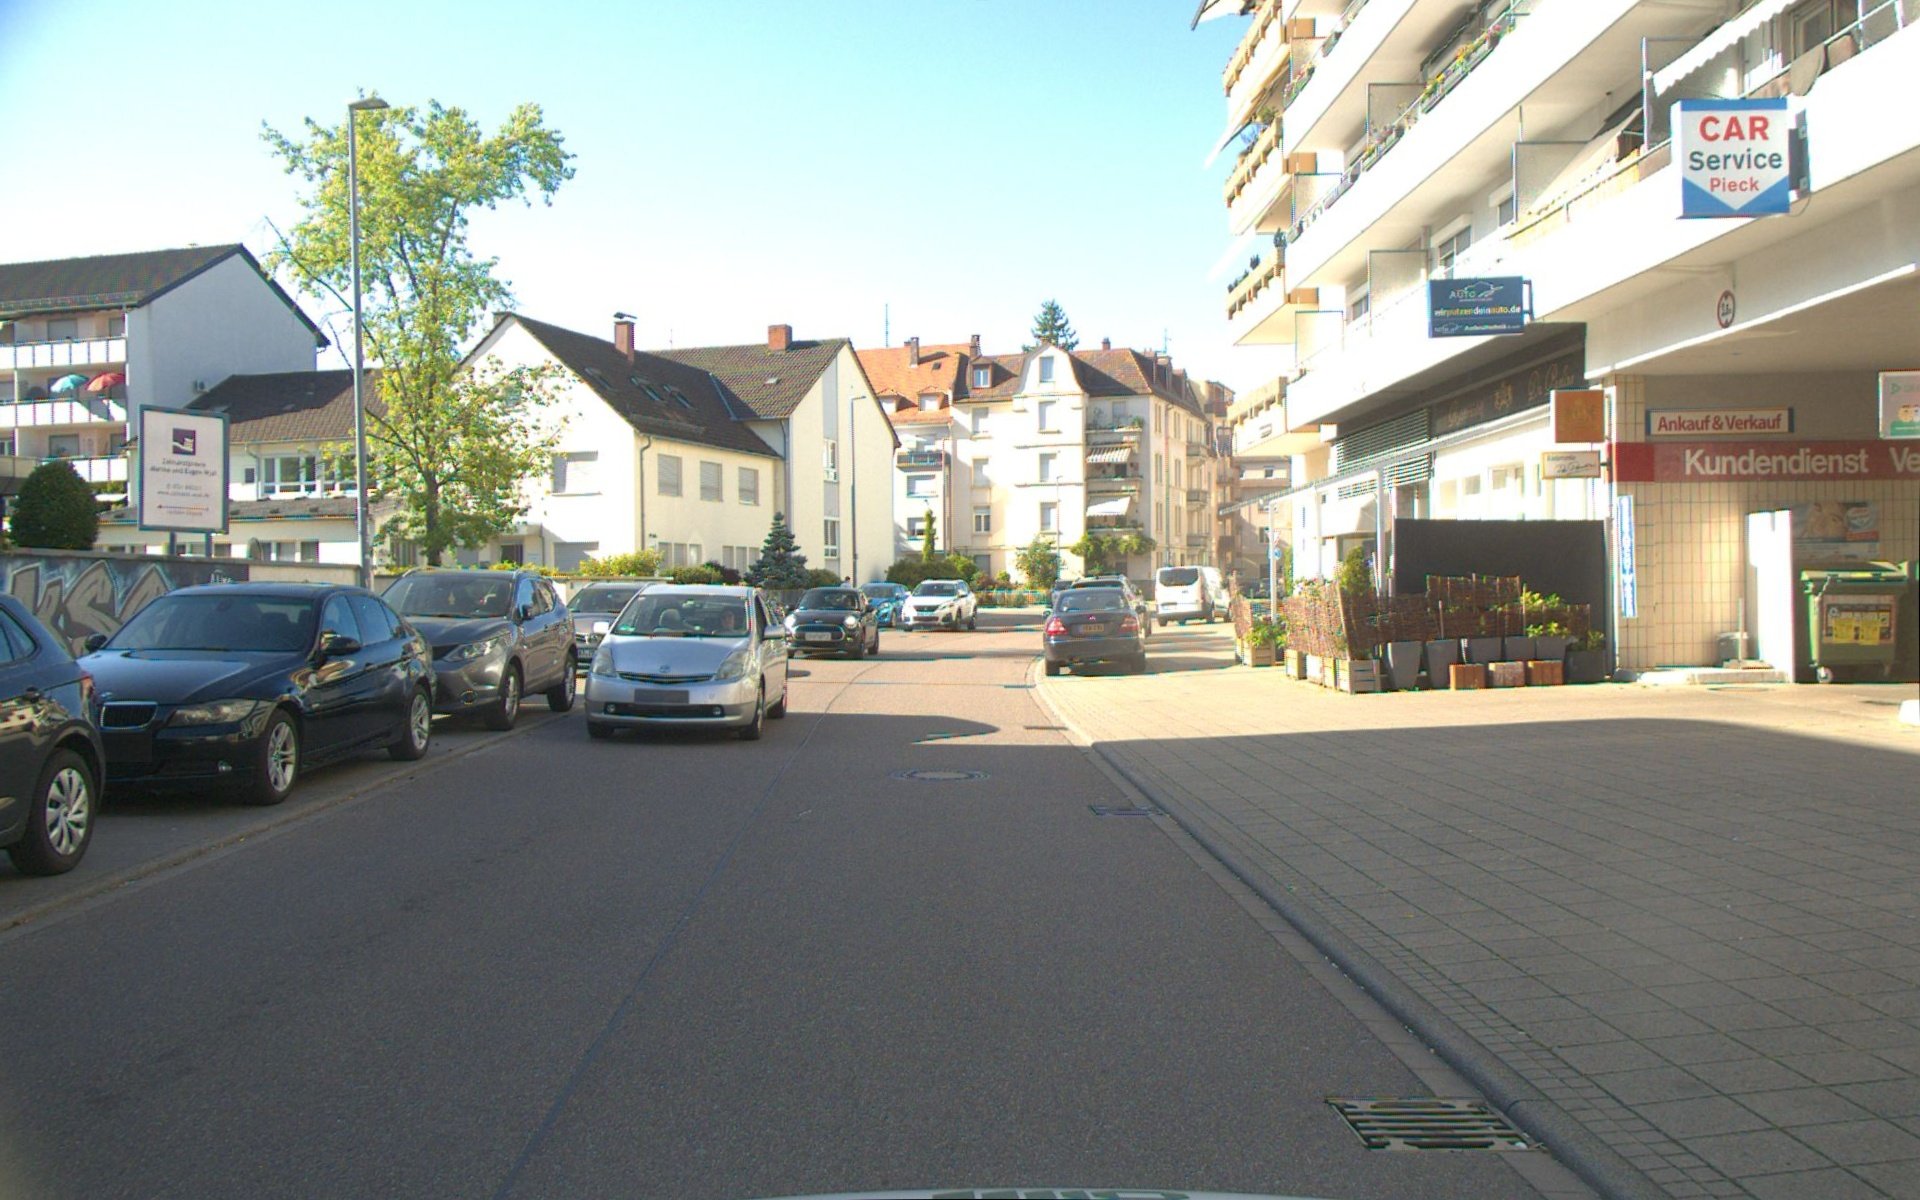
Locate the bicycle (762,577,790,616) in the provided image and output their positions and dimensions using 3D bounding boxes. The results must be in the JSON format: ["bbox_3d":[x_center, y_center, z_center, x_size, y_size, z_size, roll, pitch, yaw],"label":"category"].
[{"bbox_3d":[-6.355,-0.120,57.190,0.446,1.272,1.929,-1,-2,10],"label":"bicycle"}]

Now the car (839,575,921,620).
[{"bbox_3d":[-2.714,-0.119,57.004,1.759,1.499,4.335,0,1,12],"label":"car"}]

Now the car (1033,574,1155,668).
[{"bbox_3d":[2.409,0.344,29.079,1.929,1.476,5.006,-1,0,6],"label":"car"}]

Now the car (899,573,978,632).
[{"bbox_3d":[-0.644,0.130,53.508,1.878,1.755,4.340,-1,-2,9],"label":"car"}]

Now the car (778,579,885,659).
[{"bbox_3d":[-2.646,0.444,34.778,1.703,1.539,3.731,-1,-3,4],"label":"car"}]

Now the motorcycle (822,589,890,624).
[{"bbox_3d":[-3.400,0.200,54.072,2.016,1.036,0.947,3,3,24],"label":"motorcycle"}]

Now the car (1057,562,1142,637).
[{"bbox_3d":[3.475,0.044,40.497,1.778,1.682,4.563,-1,-2,8],"label":"car"}]

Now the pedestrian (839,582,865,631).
[{"bbox_3d":[-3.902,0.245,59.705,0.668,1.733,0.824,-1,-2,19],"label":"pedestrian"}]

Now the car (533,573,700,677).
[{"bbox_3d":[-5.625,0.338,27.726,1.954,1.561,4.916,-1,1,-3],"label":"car"}]

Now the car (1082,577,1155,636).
[{"bbox_3d":[4.378,0.148,45.191,1.681,1.433,4.318,-3,0,8],"label":"car"}]

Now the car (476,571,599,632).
[{"bbox_3d":[-11.541,0.075,45.349,1.763,1.583,3.188,-2,-2,21],"label":"car"}]

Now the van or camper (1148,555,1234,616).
[{"bbox_3d":[8.245,-0.522,58.638,1.979,1.981,4.704,-3,0,21],"label":"van or camper"}]

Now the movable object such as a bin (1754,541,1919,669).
[{"bbox_3d":[10.952,0.076,20.635,1.433,1.526,1.264,-1,-2,-3],"label":"movable object such as a bin"}]

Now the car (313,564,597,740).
[{"bbox_3d":[-5.167,0.453,17.553,1.684,1.614,4.421,-1,1,-1],"label":"car"}]

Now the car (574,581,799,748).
[{"bbox_3d":[-2.727,0.574,17.342,1.691,1.511,4.106,-1,1,-1],"label":"car"}]

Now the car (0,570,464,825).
[{"bbox_3d":[-5.107,0.548,12.012,1.691,1.490,4.439,-1,1,-1],"label":"car"}]

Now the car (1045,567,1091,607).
[{"bbox_3d":[5.146,-0.622,79.044,1.948,1.816,4.520,-1,1,1],"label":"car"}]

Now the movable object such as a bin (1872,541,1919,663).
[{"bbox_3d":[12.392,0.029,20.659,1.303,1.492,1.161,-1,-2,-2],"label":"movable object such as a bin"}]

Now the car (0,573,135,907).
[{"bbox_3d":[-4.954,0.622,6.588,1.566,1.466,3.997,0,0,-4],"label":"car"}]
